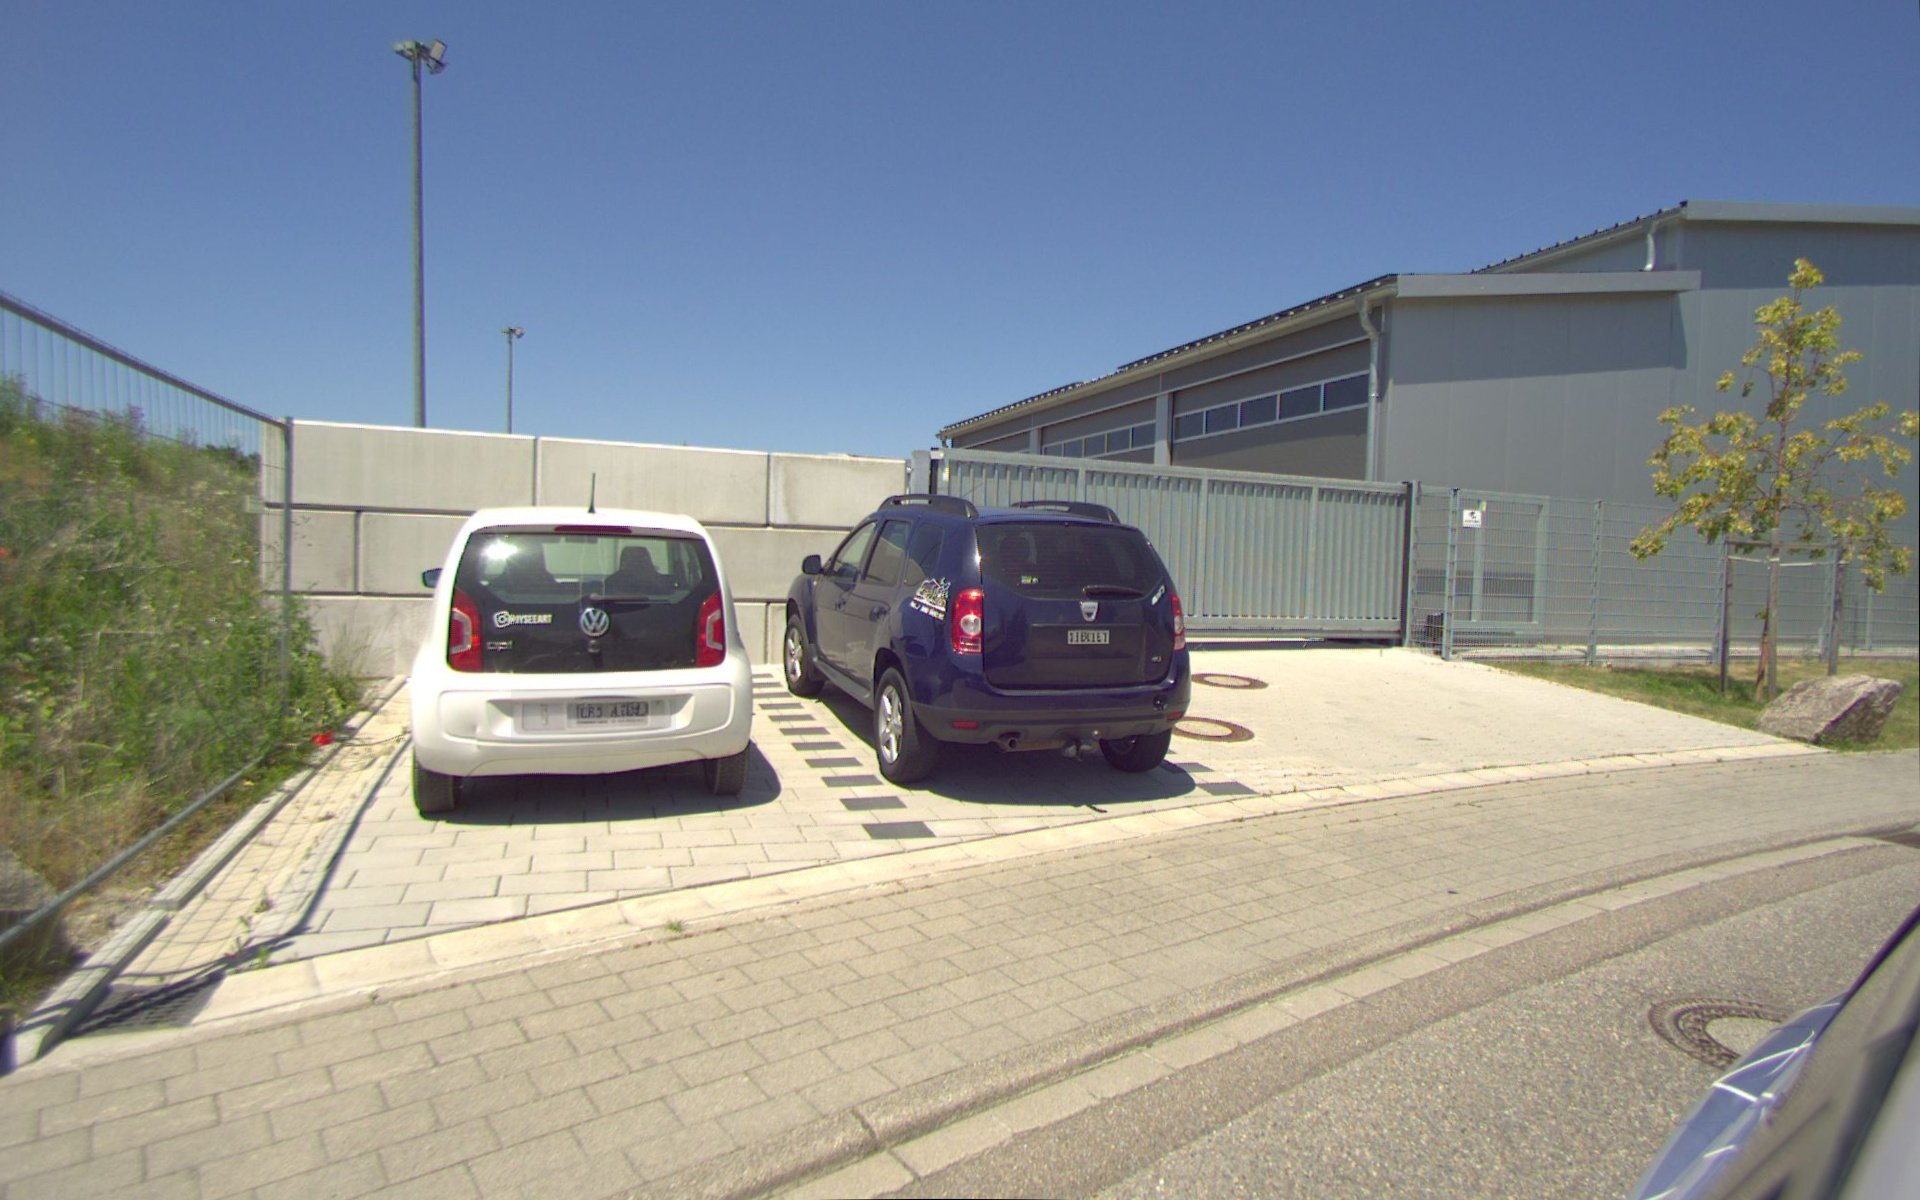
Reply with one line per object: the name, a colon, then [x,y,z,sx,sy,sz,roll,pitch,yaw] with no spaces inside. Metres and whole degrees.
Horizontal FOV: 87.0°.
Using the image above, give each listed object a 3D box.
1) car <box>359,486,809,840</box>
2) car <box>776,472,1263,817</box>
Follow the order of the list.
car: [-2.359,0.115,6.411,1.853,1.479,4.035,2,4,-22]
car: [0.032,0.017,7.138,1.819,1.674,4.037,2,6,-21]
